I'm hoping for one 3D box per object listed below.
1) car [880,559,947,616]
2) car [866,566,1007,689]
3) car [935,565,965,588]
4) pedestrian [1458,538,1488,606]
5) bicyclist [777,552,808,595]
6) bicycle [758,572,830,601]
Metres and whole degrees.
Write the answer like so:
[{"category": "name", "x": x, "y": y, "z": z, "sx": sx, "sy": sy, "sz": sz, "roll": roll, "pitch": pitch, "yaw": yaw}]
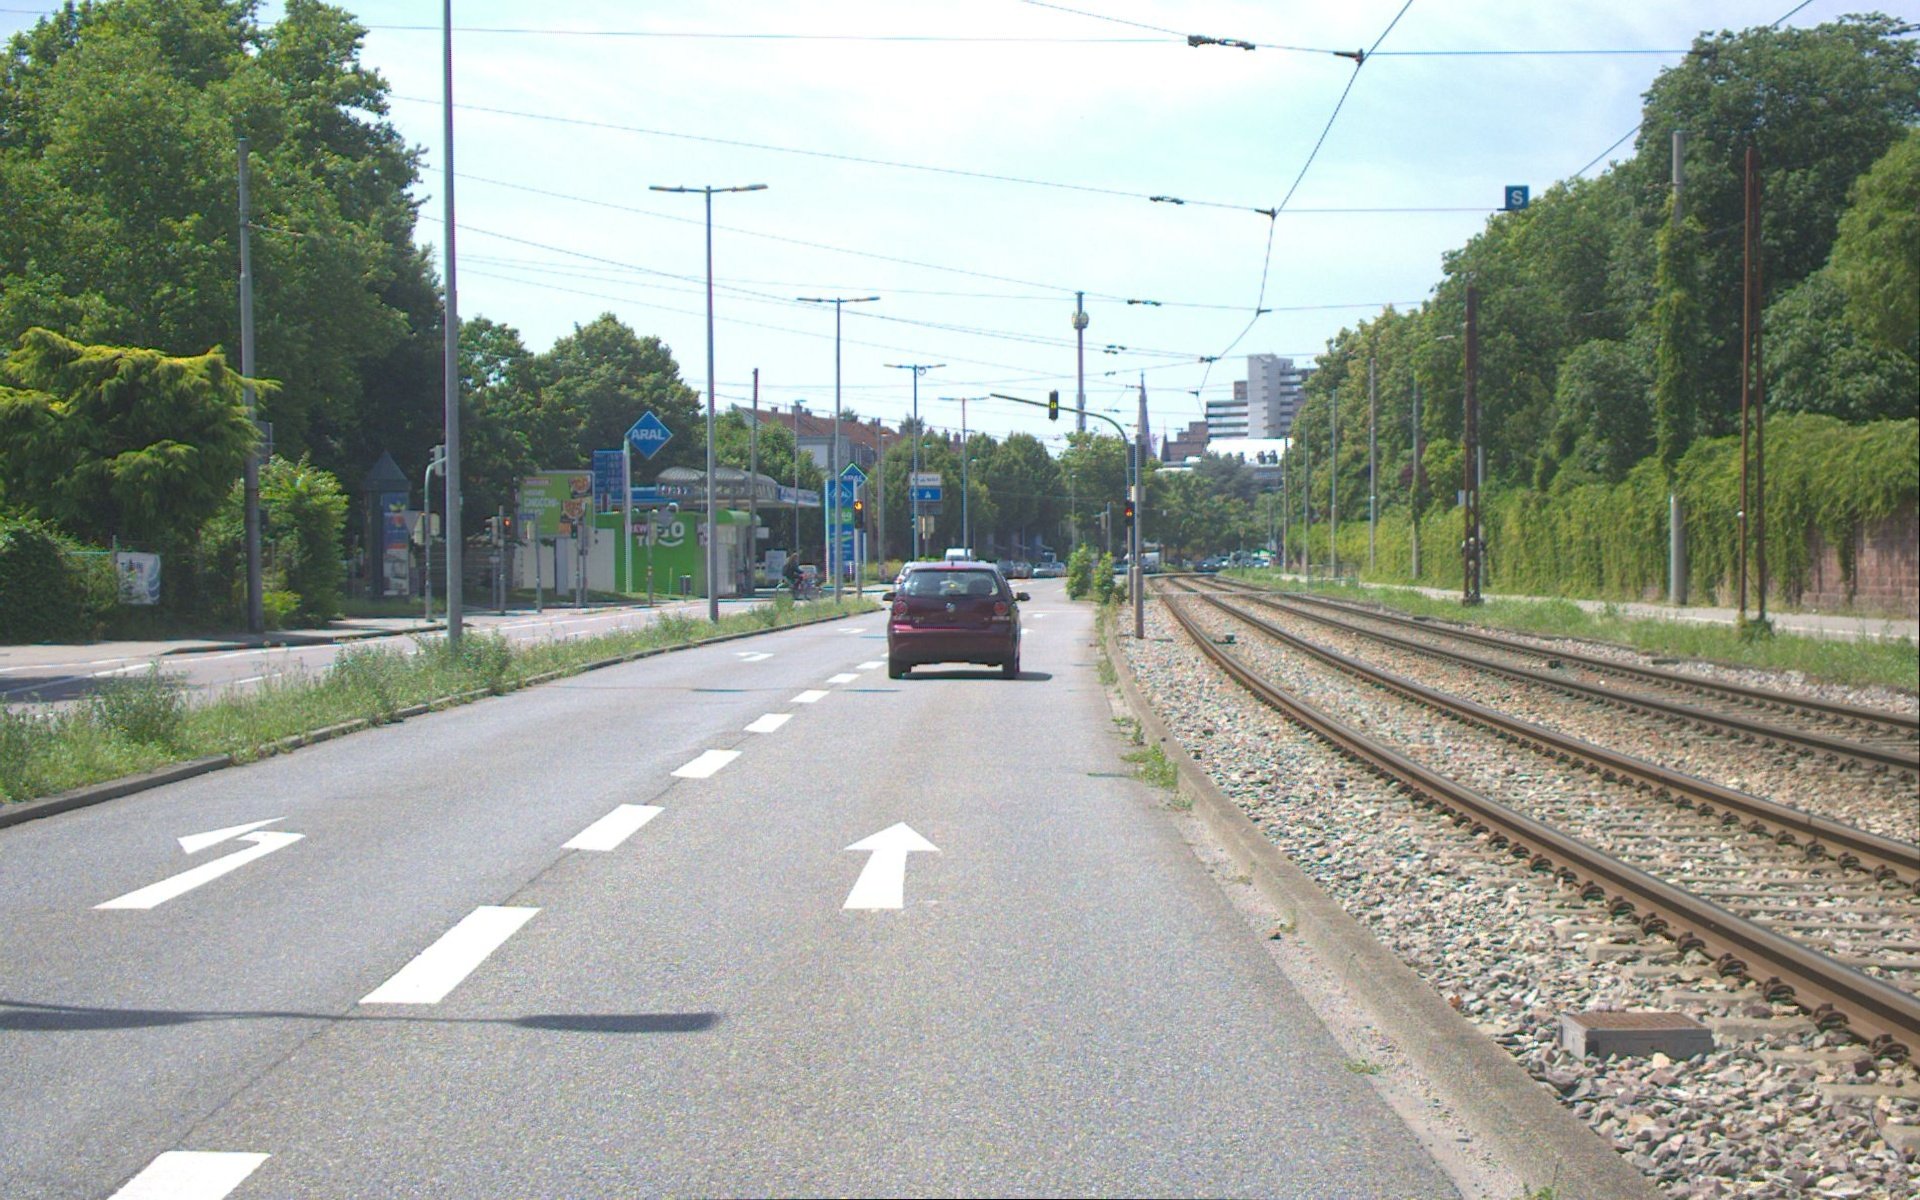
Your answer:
[{"category": "car", "x": -1.286, "y": -0.353, "z": 93.490, "sx": 1.702, "sy": 1.475, "sz": 3.717, "roll": -1, "pitch": 1, "yaw": -2}, {"category": "car", "x": -0.262, "y": 0.318, "z": 43.766, "sx": 1.703, "sy": 1.472, "sz": 3.716, "roll": 0, "pitch": 1, "yaw": 1}, {"category": "car", "x": -0.753, "y": -1.715, "z": 251.943, "sx": 1.993, "sy": 1.590, "sz": 4.000, "roll": 1, "pitch": 0, "yaw": -2}, {"category": "pedestrian", "x": 13.032, "y": -0.709, "z": 87.315, "sx": 0.661, "sy": 1.720, "sz": 0.816, "roll": 0, "pitch": 0, "yaw": 2}, {"category": "bicyclist", "x": -6.339, "y": -1.013, "z": 130.249, "sx": 0.944, "sy": 1.588, "sz": 1.088, "roll": 1, "pitch": -1, "yaw": -13}, {"category": "bicycle", "x": -6.297, "y": -0.504, "z": 130.226, "sx": 2.549, "sy": 1.034, "sz": 1.088, "roll": 1, "pitch": 0, "yaw": -13}]
